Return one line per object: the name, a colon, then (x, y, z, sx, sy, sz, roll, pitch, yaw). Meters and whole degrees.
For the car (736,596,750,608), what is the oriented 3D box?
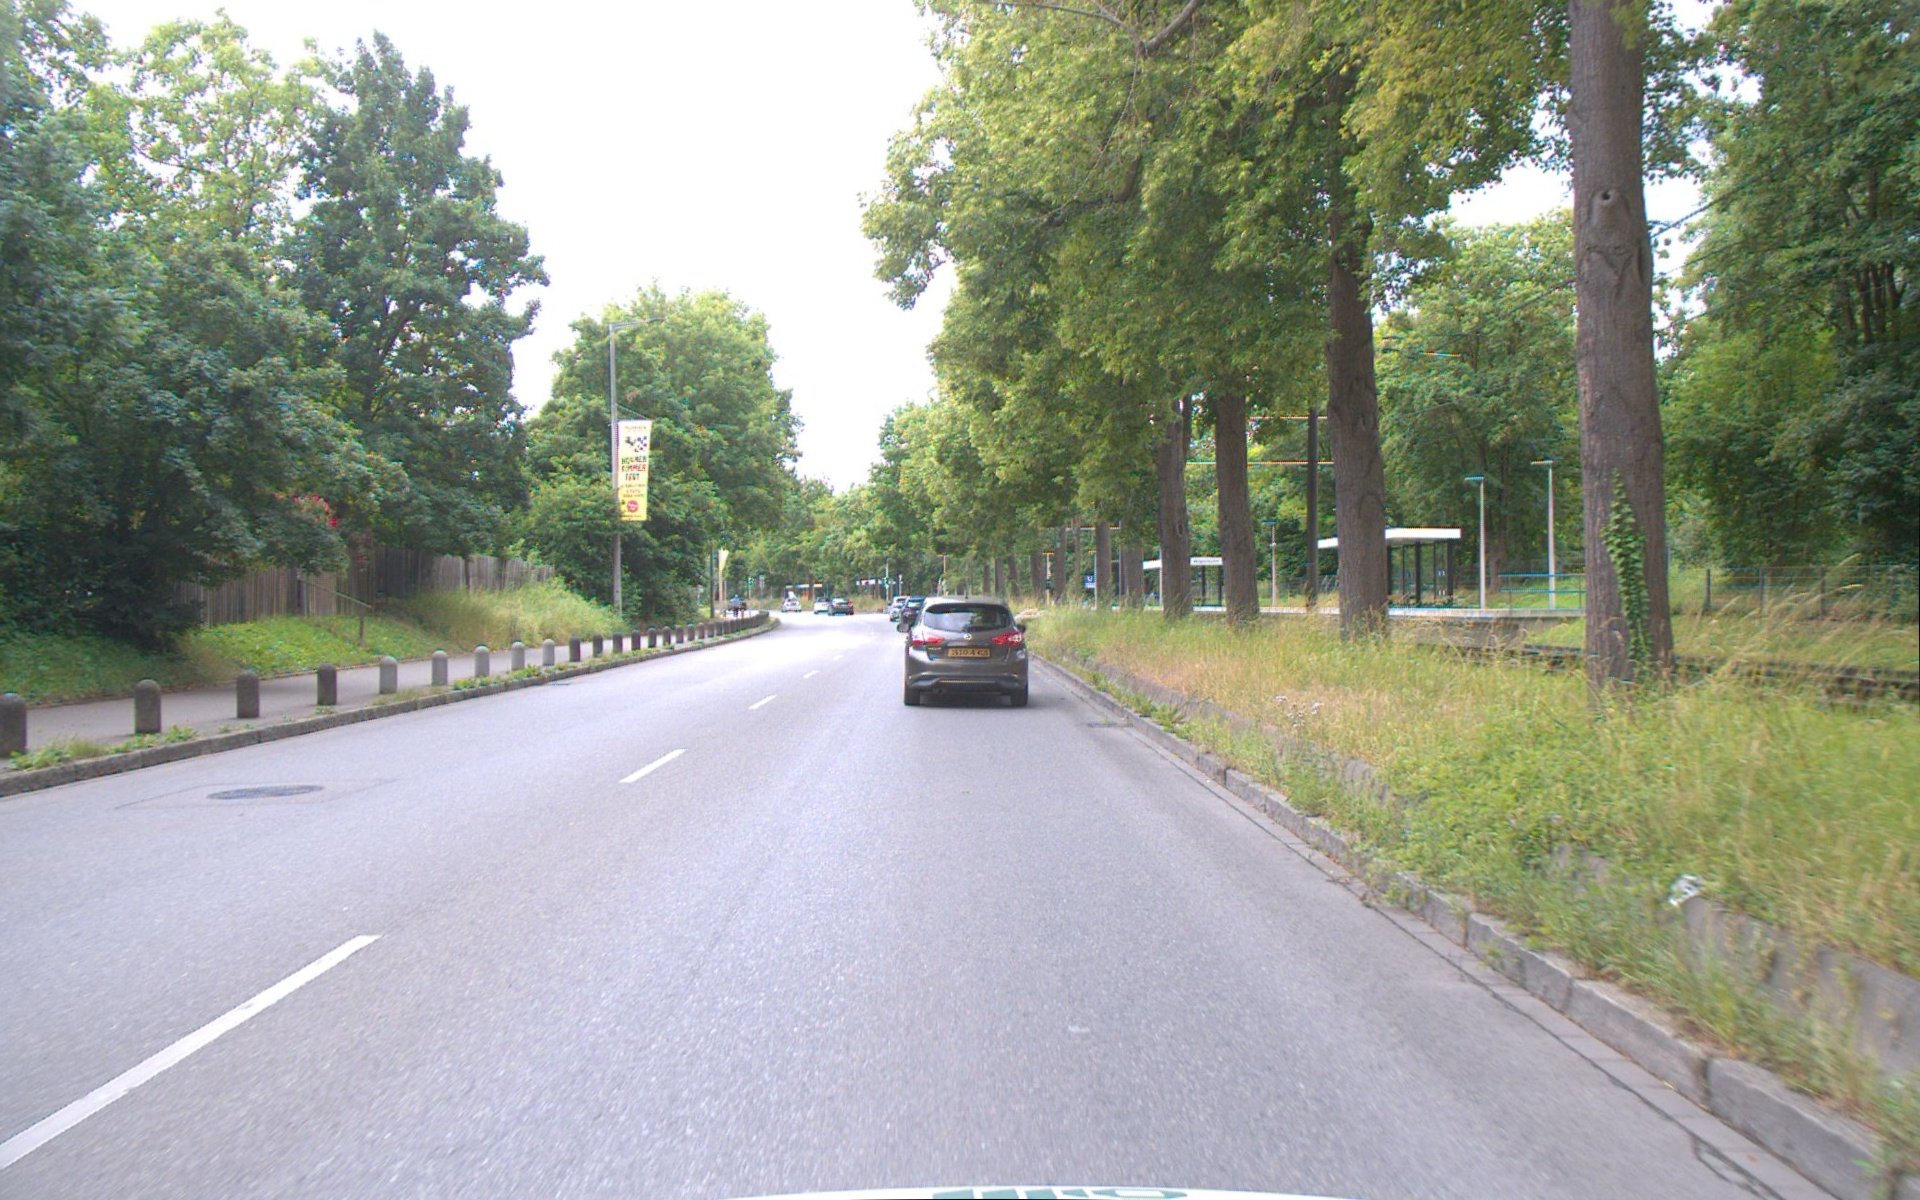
car: (-27.547, 0.186, 209.629, 1.533, 1.466, 3.542, 1, 0, -11)

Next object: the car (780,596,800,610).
car: (-18.133, 0.342, 176.241, 1.536, 1.466, 3.537, 1, 0, -15)

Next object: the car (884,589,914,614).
car: (-3.711, 0.065, 100.412, 1.532, 1.466, 3.546, 1, 0, -7)

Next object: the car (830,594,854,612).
car: (-9.957, 0.225, 138.868, 1.534, 1.466, 3.541, 1, 0, -12)

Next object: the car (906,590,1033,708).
car: (0.077, 0.643, 24.028, 1.695, 1.564, 3.550, 1, 0, -2)

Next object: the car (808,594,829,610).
car: (-13.146, 0.193, 153.861, 1.534, 1.466, 3.541, 1, 0, -12)

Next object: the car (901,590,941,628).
car: (-1.703, 0.376, 71.749, 1.695, 1.564, 3.550, 1, 0, -2)
